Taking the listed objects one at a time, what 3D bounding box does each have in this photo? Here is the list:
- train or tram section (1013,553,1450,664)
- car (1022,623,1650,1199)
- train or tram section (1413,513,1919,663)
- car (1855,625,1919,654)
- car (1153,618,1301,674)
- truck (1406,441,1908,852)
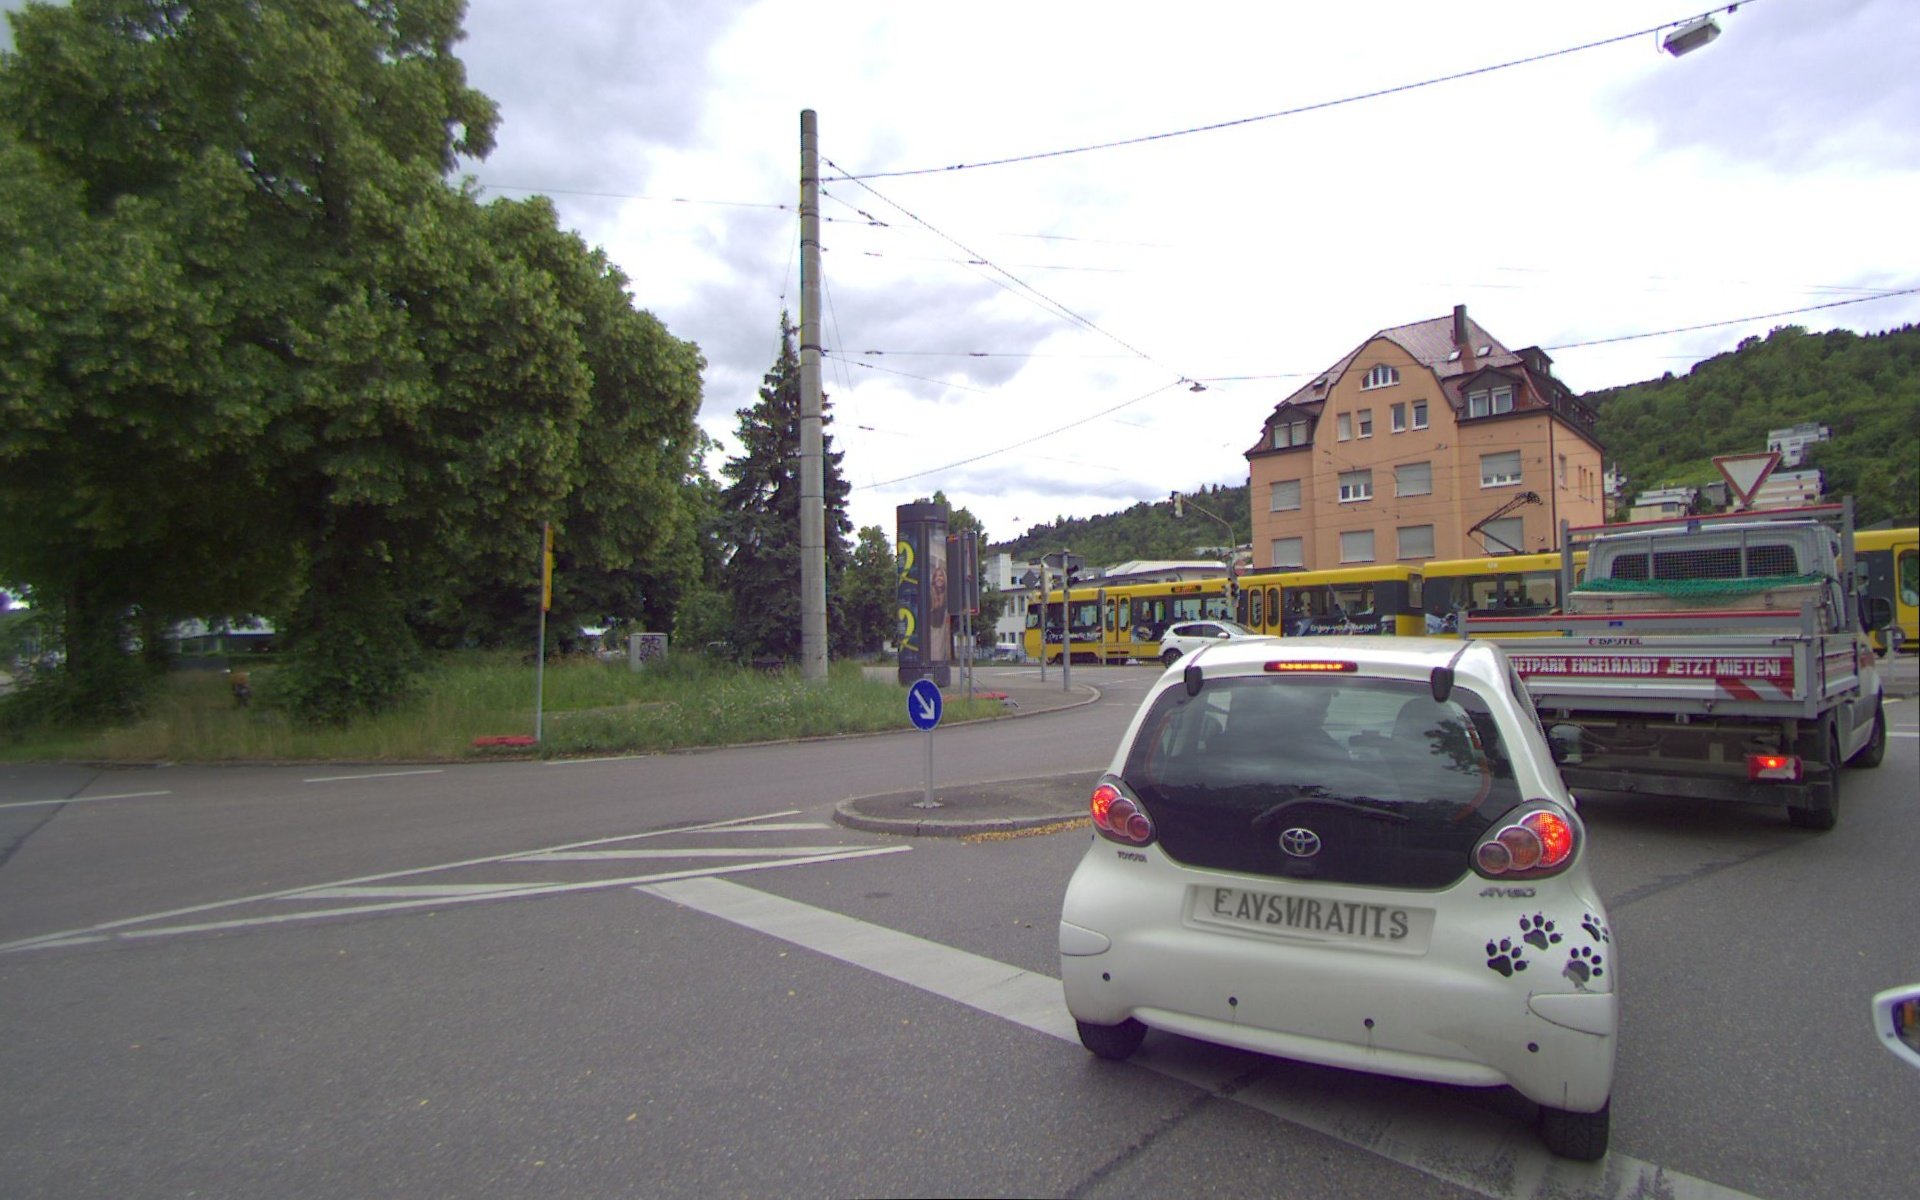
[{"bbox_3d":[10.002,0.742,41.922,3.253,3.713,18.946,0,-3,-41],"label":"train or tram section"},{"bbox_3d":[1.738,0.869,4.319,1.615,1.451,3.426,-3,-3,28],"label":"car"},{"bbox_3d":[23.200,-0.178,28.375,18.912,3.714,3.258,-4,-3,44],"label":"train or tram section"},{"bbox_3d":[52.927,2.200,56.160,1.764,1.553,4.162,1,-3,-44],"label":"car"},{"bbox_3d":[8.265,1.452,31.308,4.070,1.605,1.792,-4,-3,43],"label":"car"},{"bbox_3d":[6.454,0.369,8.894,5.986,2.429,2.399,1,-4,-43],"label":"truck"}]
